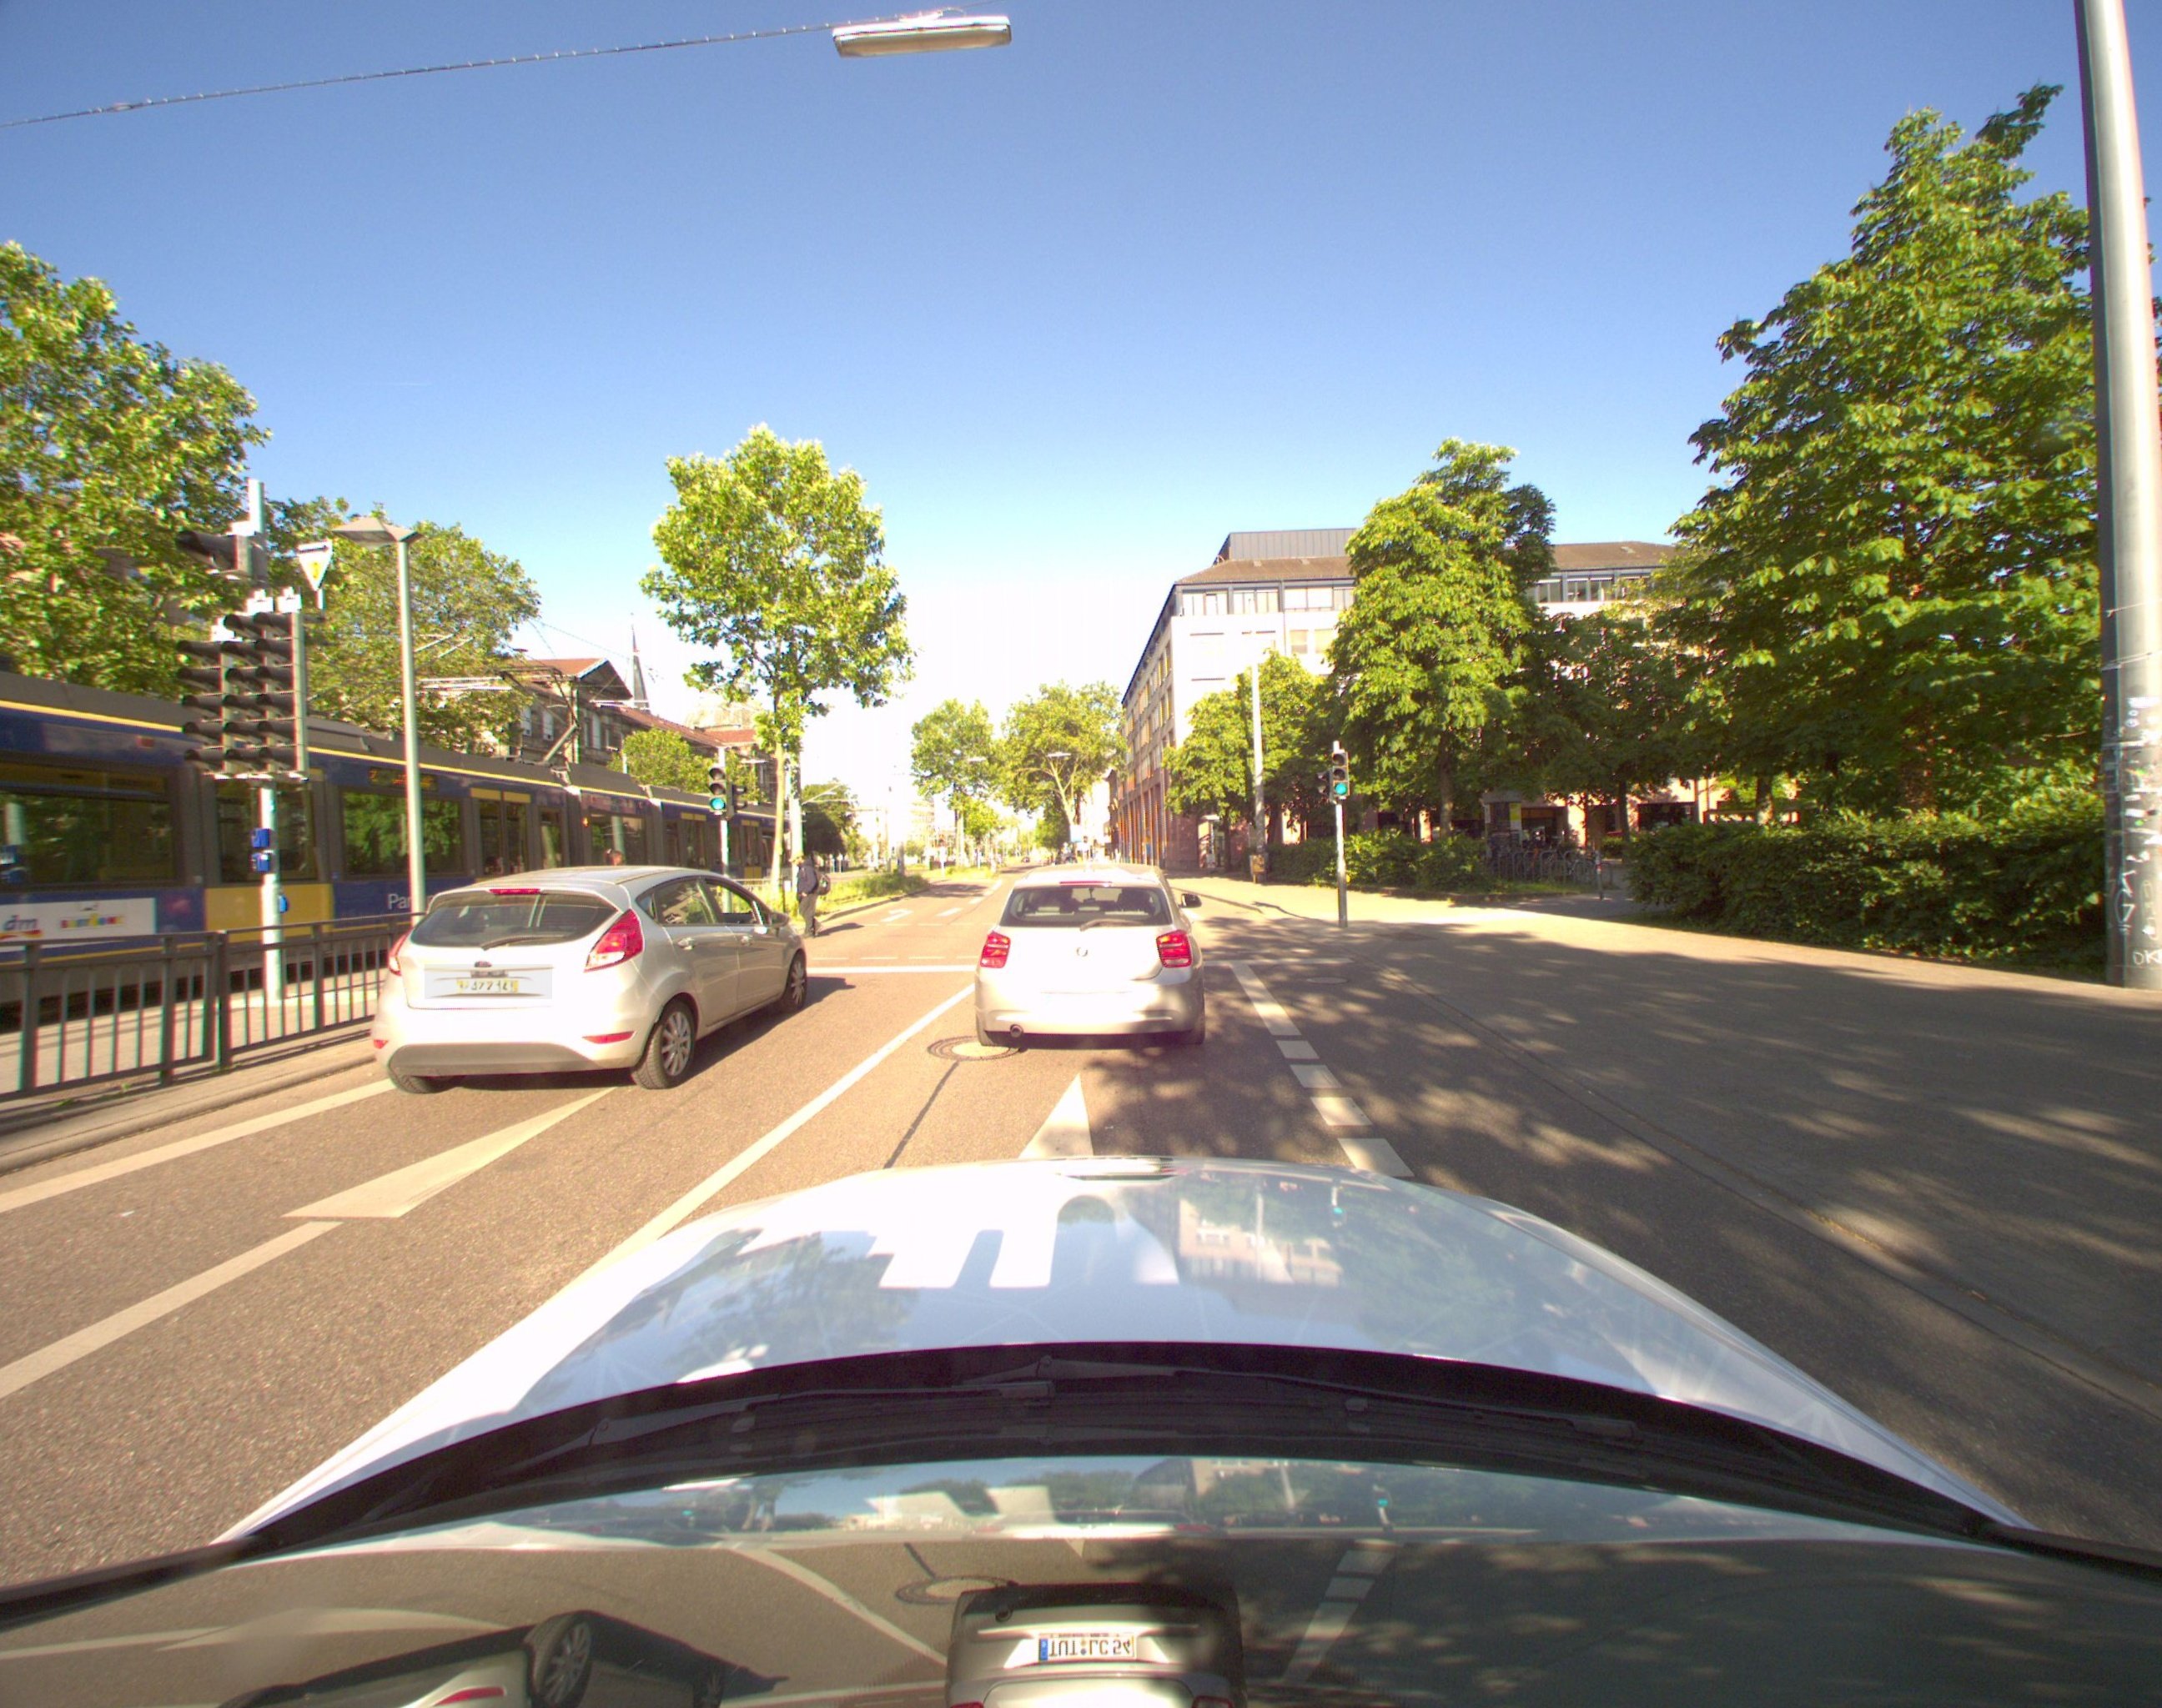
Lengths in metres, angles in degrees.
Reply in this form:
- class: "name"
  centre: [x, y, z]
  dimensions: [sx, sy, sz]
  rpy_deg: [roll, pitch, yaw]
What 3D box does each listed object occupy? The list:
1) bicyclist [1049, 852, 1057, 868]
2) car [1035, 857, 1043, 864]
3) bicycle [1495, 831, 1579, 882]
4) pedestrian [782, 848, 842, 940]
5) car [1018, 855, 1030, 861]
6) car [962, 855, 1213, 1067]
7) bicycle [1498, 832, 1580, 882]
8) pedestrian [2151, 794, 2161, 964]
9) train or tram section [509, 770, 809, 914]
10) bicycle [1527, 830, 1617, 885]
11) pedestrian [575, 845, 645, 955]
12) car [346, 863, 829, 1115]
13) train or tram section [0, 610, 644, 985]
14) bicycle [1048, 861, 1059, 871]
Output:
- class: "bicyclist"
  centre: [-3.097, 0.678, 90.078]
  dimensions: [0.655, 1.657, 0.766]
  rpy_deg: [-3, 0, 7]
- class: "car"
  centre: [-12.784, 1.985, 247.226]
  dimensions: [1.986, 2.014, 4.002]
  rpy_deg: [0, -1, 2]
- class: "bicycle"
  centre: [12.901, 0.067, 23.051]
  dimensions: [1.989, 1.314, 0.574]
  rpy_deg: [-3, 0, 0]
- class: "pedestrian"
  centre: [-4.920, 0.719, 14.947]
  dimensions: [0.941, 1.629, 0.626]
  rpy_deg: [-1, -1, -11]
- class: "car"
  centre: [-14.879, 1.132, 213.185]
  dimensions: [2.003, 1.486, 3.968]
  rpy_deg: [-2, 0, -24]
- class: "car"
  centre: [0.209, 0.740, 7.540]
  dimensions: [1.722, 1.390, 3.845]
  rpy_deg: [0, 1, 5]
- class: "bicycle"
  centre: [13.293, 0.079, 23.666]
  dimensions: [1.989, 1.314, 0.574]
  rpy_deg: [-3, 0, 0]
- class: "pedestrian"
  centre: [6.909, 0.407, 4.674]
  dimensions: [0.743, 1.575, 0.822]
  rpy_deg: [-2, -1, -41]
- class: "train or tram section"
  centre: [-11.789, -0.165, 25.115]
  dimensions: [2.907, 3.260, 13.098]
  rpy_deg: [0, -1, -3]
- class: "bicycle"
  centre: [13.144, 0.094, 21.833]
  dimensions: [1.989, 1.314, 0.574]
  rpy_deg: [-3, 0, 0]
- class: "pedestrian"
  centre: [-6.908, 0.659, 11.975]
  dimensions: [0.630, 1.557, 0.645]
  rpy_deg: [-2, 0, -7]
- class: "car"
  centre: [-3.399, 0.792, 6.507]
  dimensions: [1.655, 1.409, 3.631]
  rpy_deg: [-1, 0, -1]
- class: "train or tram section"
  centre: [-11.047, -0.421, 10.693]
  dimensions: [2.908, 3.260, 15.871]
  rpy_deg: [0, -1, -3]
- class: "bicycle"
  centre: [-3.061, 1.302, 90.075]
  dimensions: [0.827, 1.041, 1.878]
  rpy_deg: [-3, 0, 7]
